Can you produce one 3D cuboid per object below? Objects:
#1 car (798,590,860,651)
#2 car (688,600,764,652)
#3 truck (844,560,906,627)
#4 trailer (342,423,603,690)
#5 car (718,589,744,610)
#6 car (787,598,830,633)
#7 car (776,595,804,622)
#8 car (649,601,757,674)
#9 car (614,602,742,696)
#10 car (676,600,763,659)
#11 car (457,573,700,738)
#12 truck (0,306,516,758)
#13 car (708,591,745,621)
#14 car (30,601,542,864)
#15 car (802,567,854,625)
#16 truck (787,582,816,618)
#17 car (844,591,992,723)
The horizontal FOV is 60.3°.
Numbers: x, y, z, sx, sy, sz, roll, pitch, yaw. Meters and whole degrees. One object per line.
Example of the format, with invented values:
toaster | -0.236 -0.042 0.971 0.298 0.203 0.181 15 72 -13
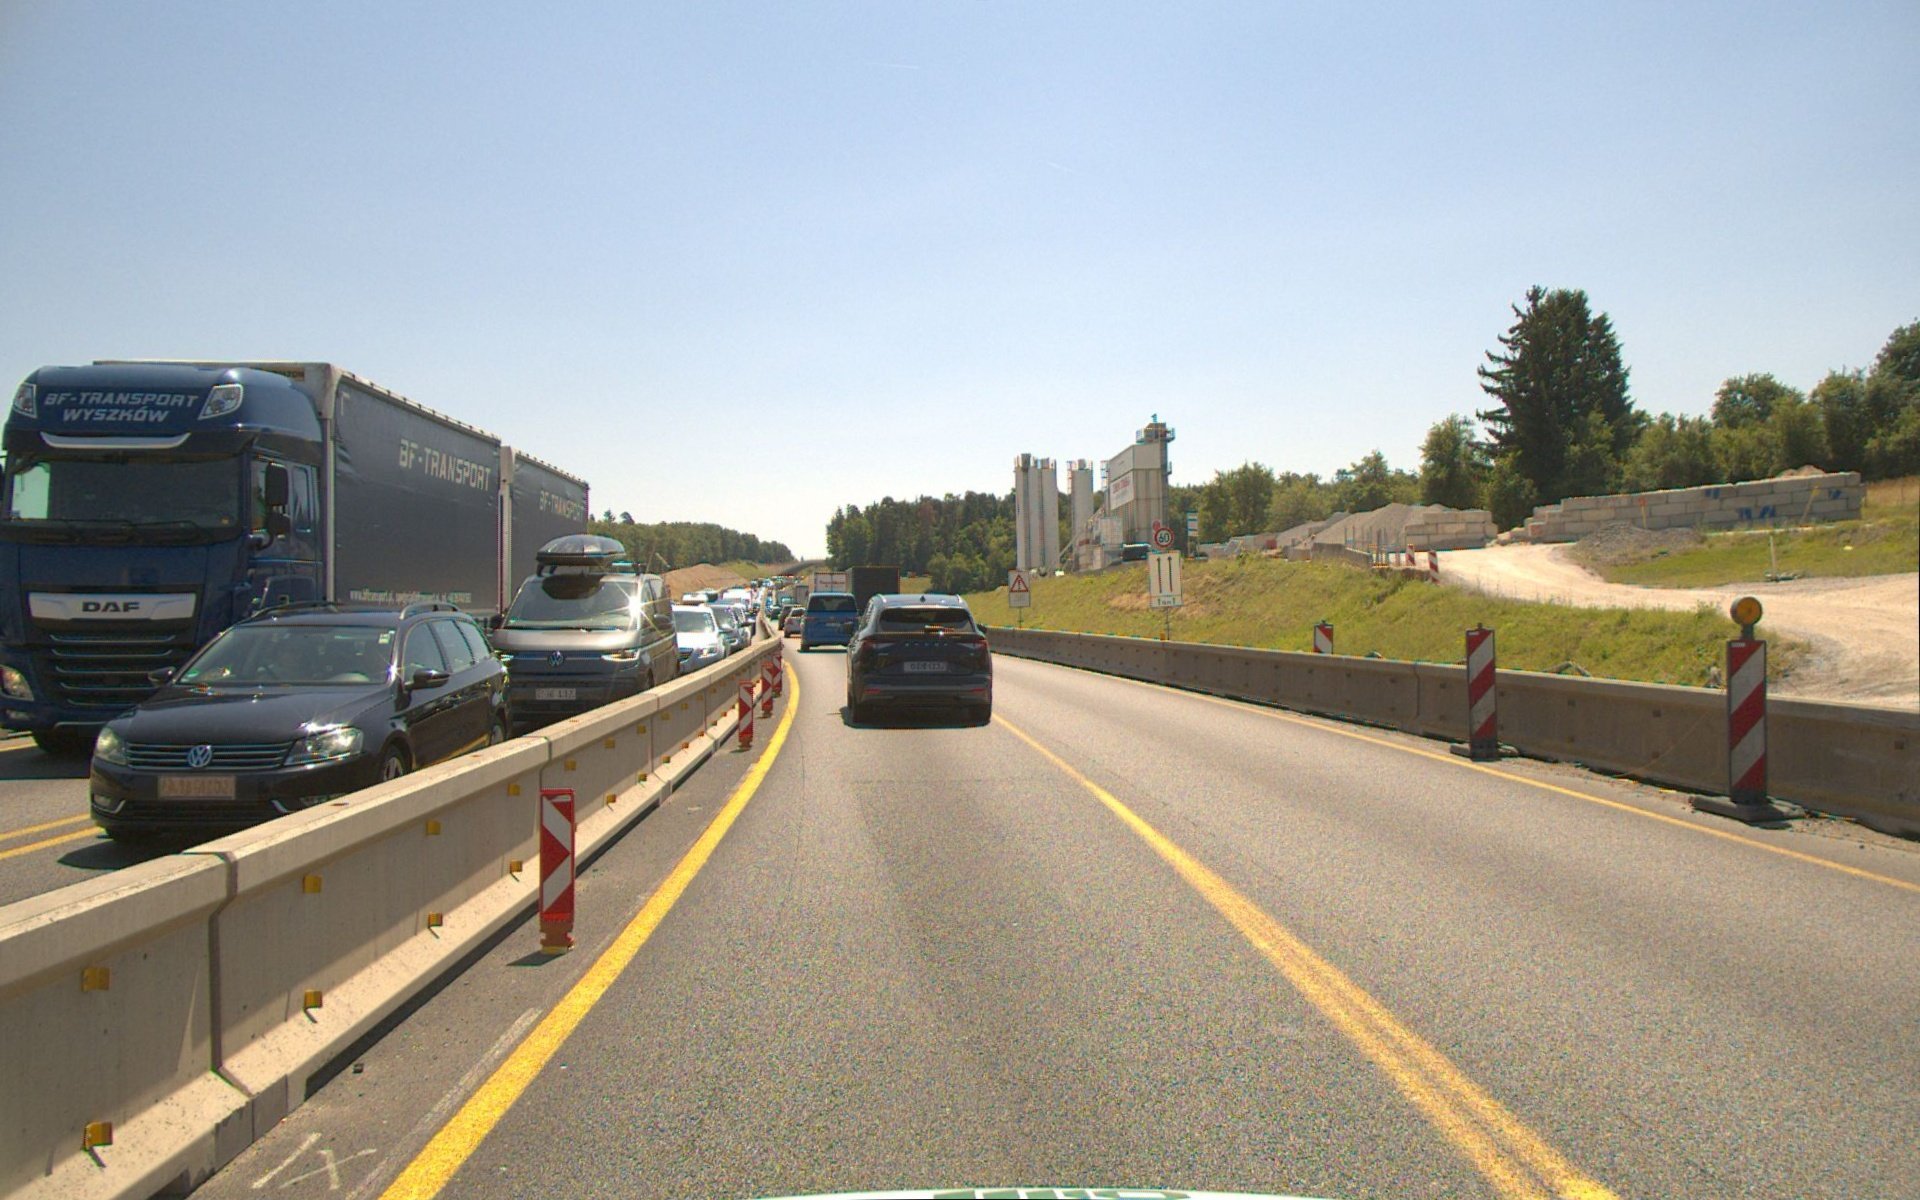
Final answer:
car | -4.352 0.638 54.746 1.955 1.876 3.996 -1 1 -5
car | -7.590 0.810 54.040 2.005 1.553 5.063 -1 0 -3
truck | -4.132 -0.301 79.678 2.621 2.997 5.614 -2 0 -6
trailer | -8.656 -0.720 30.477 2.682 4.210 8.181 -1 0 -3
car | -14.897 -0.034 107.586 1.587 1.347 3.689 -1 0 -7
car | -7.428 0.730 81.313 2.005 1.553 5.061 -2 0 -5
car | -11.115 0.535 107.813 1.786 1.673 3.860 0 0 -6
car | -5.989 0.834 39.025 2.005 1.553 5.063 -1 0 -3
car | -4.980 0.818 29.692 1.955 1.557 4.054 0 0 -5
car | -6.844 0.797 47.603 2.005 1.553 5.063 -1 0 -3
car | -4.585 0.605 20.713 2.004 1.808 5.064 0 0 -2
truck | -8.217 -0.676 20.952 2.717 4.210 10.864 -1 0 -3
car | -10.703 0.257 75.978 1.587 1.347 3.689 -1 0 -7
car | -4.417 0.749 11.752 1.700 1.472 4.796 0 0 0
car | -10.275 -0.347 127.785 3.371 4.172 9.182 2 0 -7
truck | -19.312 -0.035 201.850 3.408 4.294 10.364 0 0 -6
car | -0.496 0.695 22.229 1.804 1.609 4.000 0 0 0
